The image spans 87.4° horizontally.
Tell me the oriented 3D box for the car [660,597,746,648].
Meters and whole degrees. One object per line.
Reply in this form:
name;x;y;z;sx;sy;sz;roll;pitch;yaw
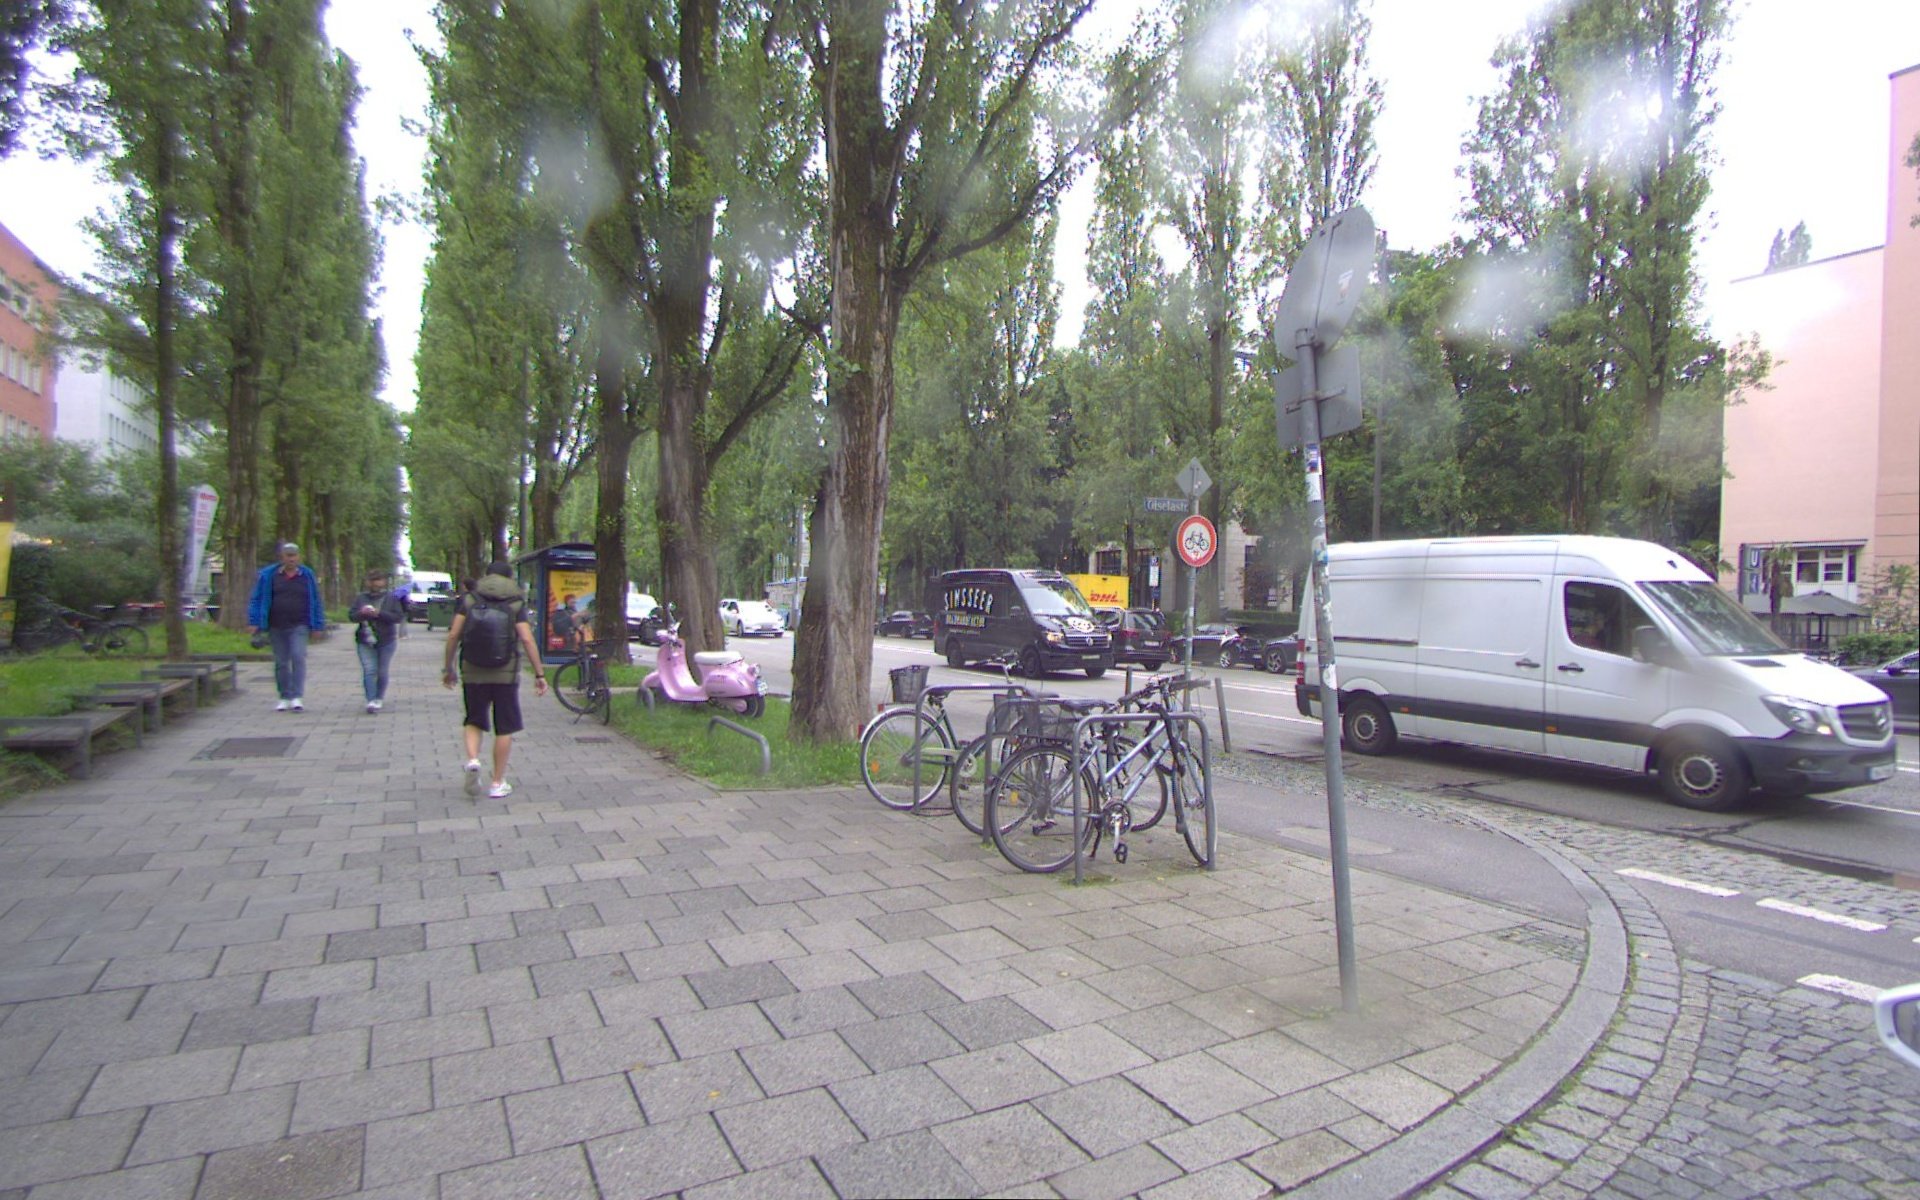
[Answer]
car;-8.949;0.739;34.768;1.988;1.602;3.970;2;0;-28

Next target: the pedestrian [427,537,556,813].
pedestrian;-3.253;0.493;7.003;0.742;1.796;0.701;1;0;-25

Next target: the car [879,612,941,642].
car;-2.699;1.426;53.509;1.772;1.431;3.852;2;0;-29

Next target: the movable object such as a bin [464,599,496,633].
movable object such as a bin;-19.452;0.639;40.724;1.052;1.329;0.975;2;0;-32

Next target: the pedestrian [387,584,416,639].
pedestrian;-17.939;0.364;32.261;0.726;1.715;0.642;2;0;-26

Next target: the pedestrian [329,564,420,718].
pedestrian;-6.950;0.471;11.930;0.634;1.750;0.701;2;0;37

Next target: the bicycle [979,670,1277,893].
bicycle;0.980;0.974;5.736;1.680;1.108;0.488;2;0;-25

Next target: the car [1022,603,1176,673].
car;3.926;1.054;29.327;1.976;1.745;4.779;3;-1;-28

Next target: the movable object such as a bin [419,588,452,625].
movable object such as a bin;-20.609;0.241;39.491;1.052;1.423;0.975;2;0;-32

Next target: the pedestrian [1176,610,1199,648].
pedestrian;10.778;1.378;47.551;0.700;1.736;0.726;2;0;-29

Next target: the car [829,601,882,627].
car;-6.289;0.808;60.071;1.772;1.431;3.852;2;0;-29

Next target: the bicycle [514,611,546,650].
bicycle;-12.258;0.858;28.598;0.548;1.036;1.747;1;0;-32

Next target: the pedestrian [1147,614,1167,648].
pedestrian;10.398;1.631;52.943;0.700;1.736;0.726;2;0;-29

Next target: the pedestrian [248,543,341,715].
pedestrian;-7.768;0.325;11.727;0.634;1.933;0.701;2;0;37

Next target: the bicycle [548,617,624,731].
bicycle;-4.434;0.833;11.861;0.576;1.204;1.603;2;0;-29

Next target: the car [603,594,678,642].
car;-12.776;0.723;40.029;1.989;1.780;3.967;1;-1;-31

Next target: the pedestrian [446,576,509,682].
pedestrian;-8.219;0.485;17.086;0.849;1.734;0.951;2;0;-31

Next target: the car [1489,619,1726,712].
car;14.262;1.397;22.346;1.773;1.754;4.045;3;-1;-30

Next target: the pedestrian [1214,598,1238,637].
pedestrian;12.256;0.809;46.289;0.700;1.736;0.726;2;0;-29

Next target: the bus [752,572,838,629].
bus;-10.113;0.028;60.475;2.886;3.092;9.741;1;-1;-23

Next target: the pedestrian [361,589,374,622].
pedestrian;-31.182;0.272;52.859;0.498;1.715;0.518;2;0;-26

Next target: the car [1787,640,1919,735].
car;17.342;1.561;17.281;1.772;1.549;4.480;2;0;-29

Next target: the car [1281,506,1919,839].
car;6.593;0.572;11.237;2.022;2.687;5.995;0;0;-29

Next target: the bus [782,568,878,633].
bus;-7.029;0.039;53.108;2.885;3.092;8.471;1;0;-22

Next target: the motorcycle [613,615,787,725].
motorcycle;-3.107;0.803;12.008;1.951;1.212;0.630;1;0;17

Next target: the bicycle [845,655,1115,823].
bicycle;0.174;0.983;7.432;1.957;1.108;0.488;2;0;-25

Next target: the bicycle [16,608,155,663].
bicycle;-15.571;0.636;17.943;1.782;0.925;0.615;2;0;-33

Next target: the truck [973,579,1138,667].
truck;3.345;0.758;37.218;2.569;2.946;7.027;2;0;-28

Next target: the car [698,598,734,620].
car;-20.733;0.769;85.260;1.976;1.745;4.089;3;-1;-28

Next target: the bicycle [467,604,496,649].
bicycle;-13.414;0.726;28.153;0.576;1.204;2.125;2;0;-29

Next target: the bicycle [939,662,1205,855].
bicycle;0.742;0.972;6.498;1.680;1.108;0.488;2;0;-25

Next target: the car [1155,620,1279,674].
car;8.365;1.511;33.008;1.772;1.431;3.851;3;1;-29

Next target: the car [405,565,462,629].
car;-26.817;-0.166;51.083;2.175;3.057;5.949;2;0;-31

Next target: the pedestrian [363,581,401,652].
pedestrian;-14.338;0.412;24.925;0.726;1.715;0.642;2;0;-26

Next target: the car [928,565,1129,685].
car;1.481;0.526;24.849;2.058;2.590;5.884;0;0;-30

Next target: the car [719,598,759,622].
car;-17.500;0.772;79.254;1.976;1.745;4.089;3;-1;-28

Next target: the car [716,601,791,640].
car;-9.298;0.857;44.949;1.976;1.596;4.601;0;0;-30

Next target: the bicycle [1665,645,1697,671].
bicycle;22.858;1.843;31.852;1.015;0.809;0.323;2;0;-24
